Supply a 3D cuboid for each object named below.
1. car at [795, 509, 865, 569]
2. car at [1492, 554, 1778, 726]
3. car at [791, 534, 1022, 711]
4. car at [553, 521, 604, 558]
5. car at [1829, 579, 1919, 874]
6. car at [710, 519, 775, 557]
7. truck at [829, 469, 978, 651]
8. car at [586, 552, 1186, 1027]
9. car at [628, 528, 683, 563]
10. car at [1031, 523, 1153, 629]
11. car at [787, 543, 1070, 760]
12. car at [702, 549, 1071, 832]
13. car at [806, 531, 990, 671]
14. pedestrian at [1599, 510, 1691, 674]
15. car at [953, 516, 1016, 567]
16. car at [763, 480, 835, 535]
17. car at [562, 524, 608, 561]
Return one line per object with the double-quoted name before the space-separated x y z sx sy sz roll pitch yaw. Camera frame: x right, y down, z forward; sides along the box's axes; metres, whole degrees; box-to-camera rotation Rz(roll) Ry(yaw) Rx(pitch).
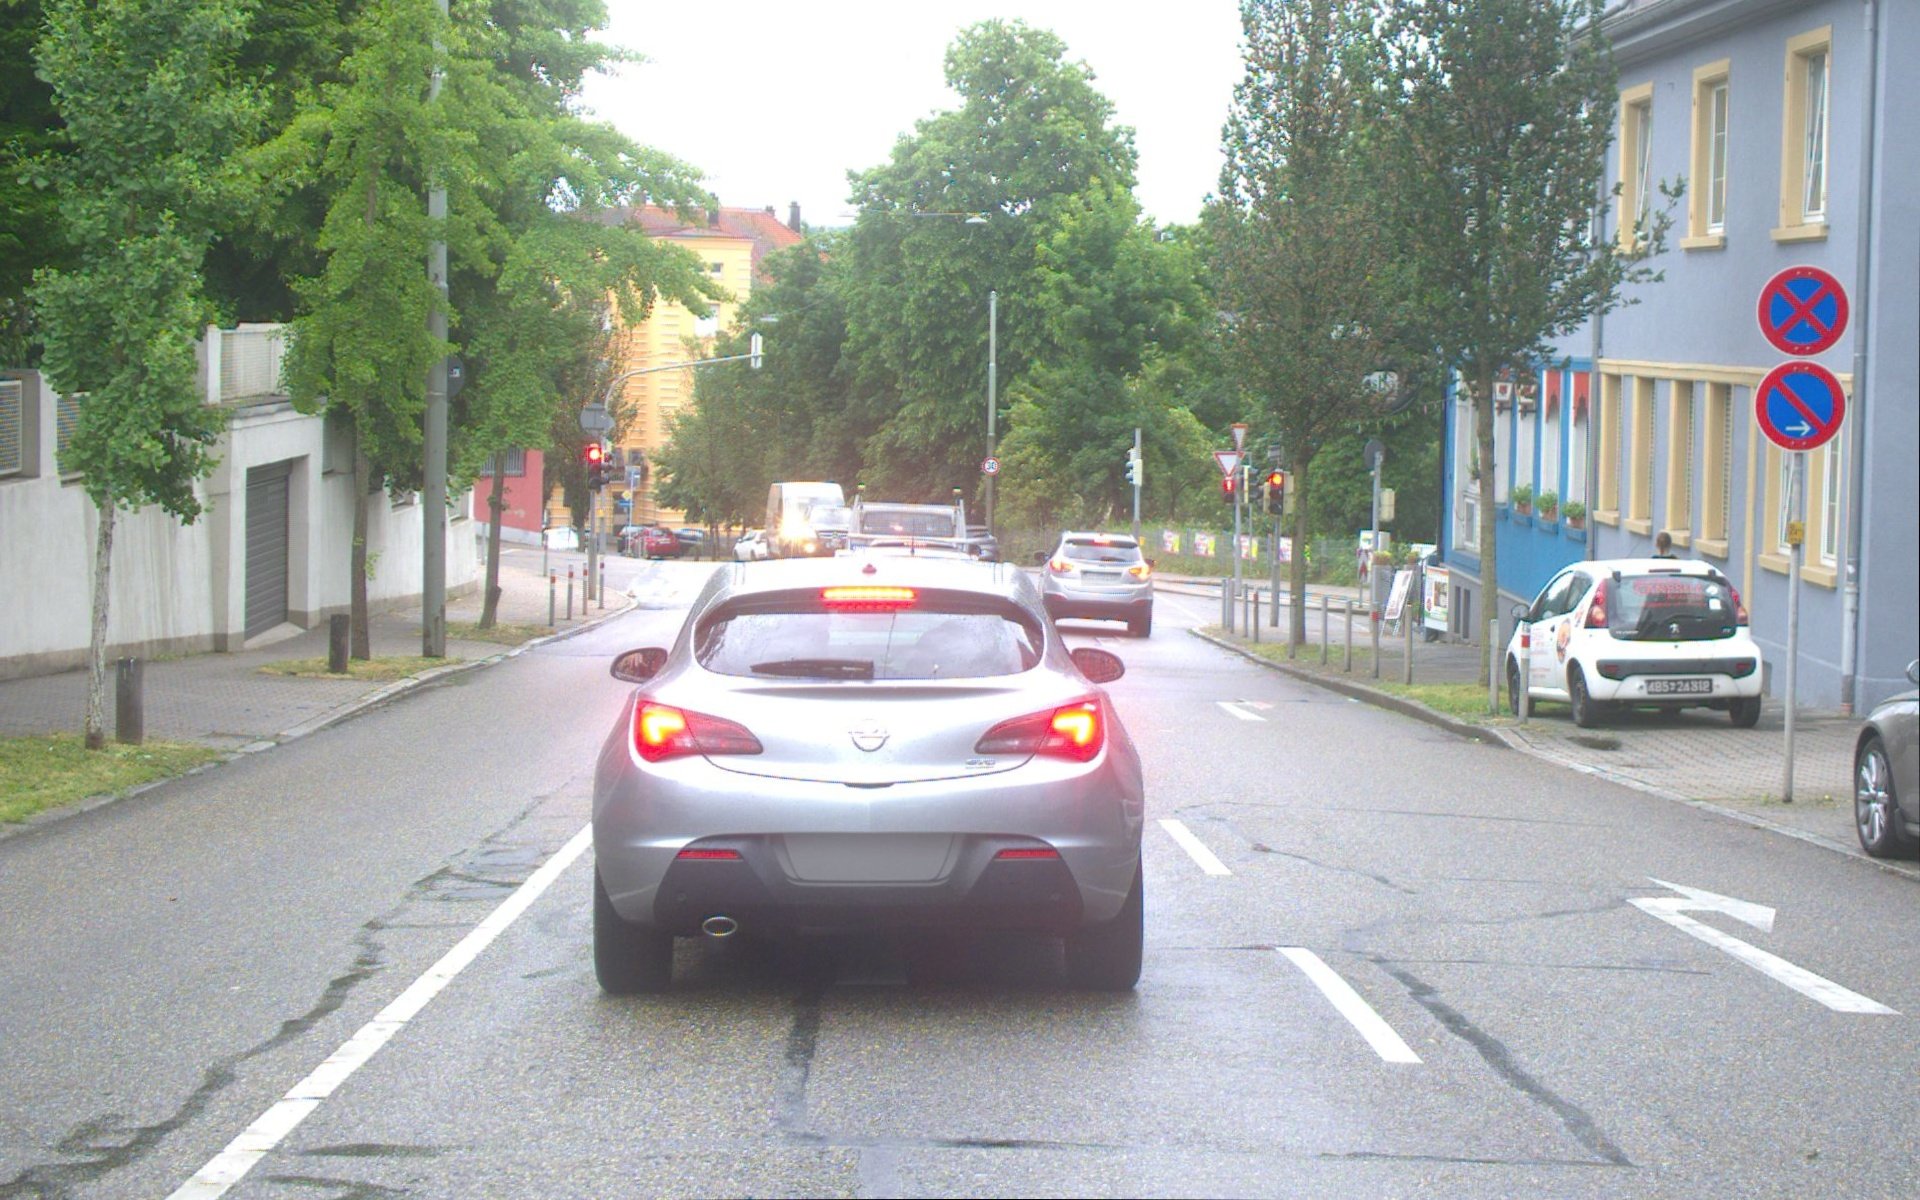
"car" -3.587 -1.689 95.190 1.870 1.632 3.880 0 1 -2
"car" 6.068 0.317 31.302 1.722 1.443 3.880 0 1 -2
"car" -0.534 0.156 32.029 1.962 1.443 4.306 2 1 -2
"car" -15.352 -2.449 138.455 1.722 1.455 3.880 0 1 -2
"car" 5.807 0.675 16.422 1.962 1.443 4.527 1 1 -3
"car" -8.994 -2.575 141.911 1.722 1.538 3.881 0 1 -18
"truck" -0.853 -0.608 49.682 1.962 2.420 4.936 2 1 -2
"car" -0.313 0.565 12.592 1.837 1.429 3.880 1 1 -3
"car" -14.236 -2.544 160.671 1.722 1.632 3.881 0 1 -18
"car" 2.187 -0.421 57.722 1.722 1.708 3.880 0 1 -3
"car" -0.293 0.334 26.651 1.962 1.443 4.306 2 1 -2
"car" -0.470 0.465 20.930 1.962 1.443 4.306 2 1 -2
"car" -0.745 -0.032 39.689 1.962 1.443 4.306 2 1 -2
"pedestrian" 7.366 -0.092 36.999 0.783 1.723 0.651 2 1 0
"car" 0.779 -1.902 111.491 1.722 1.632 3.880 0 1 -4
"car" -4.837 -2.748 102.812 1.722 1.632 3.881 0 1 -9
"car" -17.392 -2.637 159.369 1.722 1.632 3.881 2 0 -12
